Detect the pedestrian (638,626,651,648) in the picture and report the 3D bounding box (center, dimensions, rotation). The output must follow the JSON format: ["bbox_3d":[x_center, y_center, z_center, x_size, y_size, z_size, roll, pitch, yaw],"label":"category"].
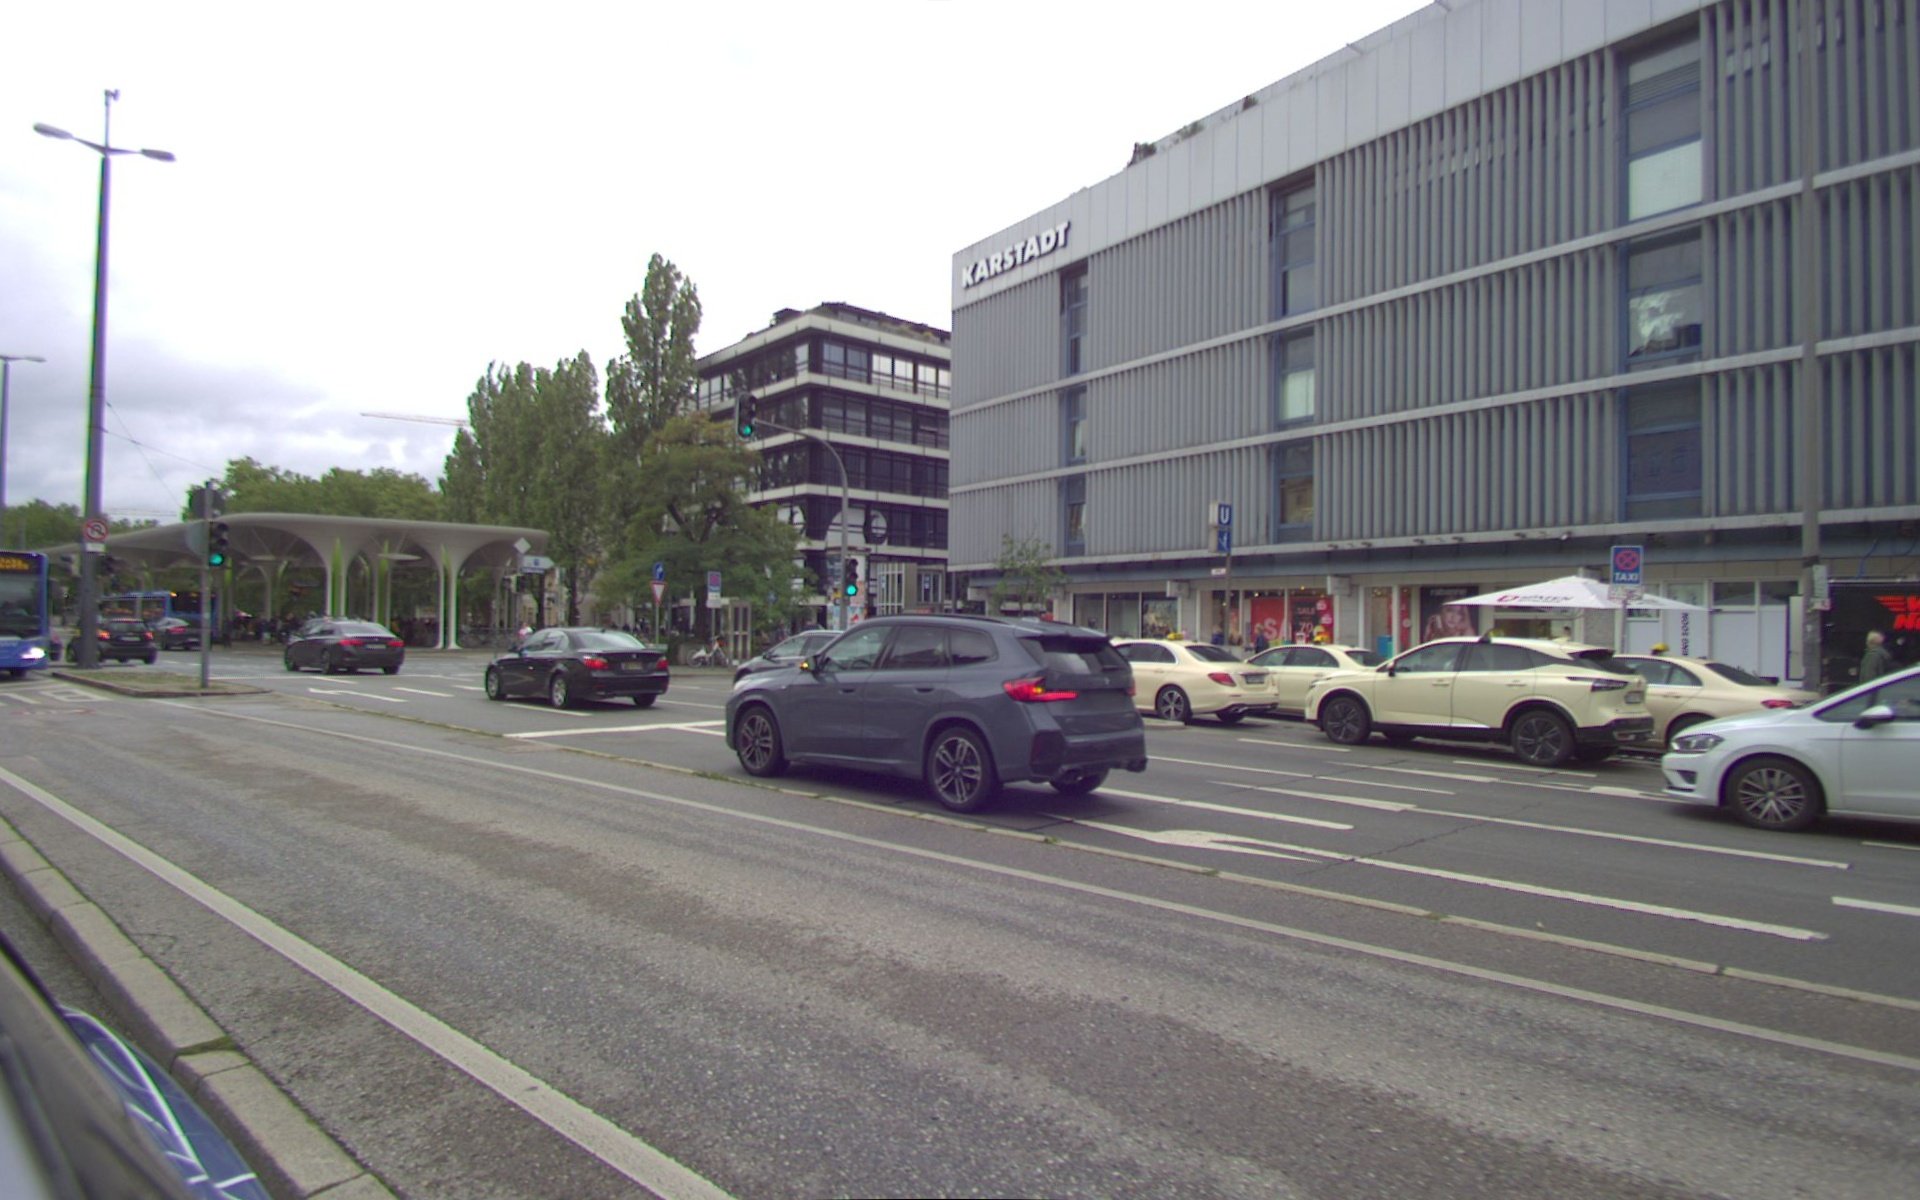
[{"bbox_3d":[-24.410,2.849,78.253,0.821,1.712,0.907,2,-2,-27],"label":"pedestrian"}]

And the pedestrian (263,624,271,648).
[{"bbox_3d":[-39.356,2.042,57.479,0.312,1.353,0.340,2,-3,-33],"label":"pedestrian"}]

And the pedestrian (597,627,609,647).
[{"bbox_3d":[-31.415,3.225,89.101,0.788,1.737,0.828,2,-2,-38],"label":"pedestrian"}]

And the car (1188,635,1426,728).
[{"bbox_3d":[6.544,1.468,19.409,1.730,1.548,4.005,2,-2,-41],"label":"car"}]

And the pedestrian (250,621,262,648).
[{"bbox_3d":[-40.125,1.986,57.666,0.419,1.514,0.491,2,-2,-24],"label":"pedestrian"}]

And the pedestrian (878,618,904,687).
[{"bbox_3d":[-1.776,1.349,26.179,0.428,1.742,0.518,0,0,40],"label":"pedestrian"}]

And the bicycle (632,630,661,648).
[{"bbox_3d":[-19.006,2.362,61.376,1.655,1.106,0.472,0,-2,7],"label":"bicycle"}]

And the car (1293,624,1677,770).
[{"bbox_3d":[7.125,1.219,14.139,1.861,1.711,4.391,4,-3,-38],"label":"car"}]

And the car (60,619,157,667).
[{"bbox_3d":[-28.589,1.425,33.986,2.775,1.518,1.547,0,-2,28],"label":"car"}]

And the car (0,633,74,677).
[{"bbox_3d":[-32.988,1.928,35.905,3.382,1.491,1.608,-1,-3,37],"label":"car"}]

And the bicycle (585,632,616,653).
[{"bbox_3d":[-19.901,2.352,56.033,1.660,1.106,0.470,0,-2,17],"label":"bicycle"}]

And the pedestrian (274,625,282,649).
[{"bbox_3d":[-38.984,2.097,57.857,0.270,1.387,0.299,-1,-3,38],"label":"pedestrian"}]

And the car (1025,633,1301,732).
[{"bbox_3d":[3.559,1.399,18.593,1.921,1.552,4.855,2,-2,-40],"label":"car"}]

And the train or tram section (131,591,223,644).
[{"bbox_3d":[-46.958,1.076,60.618,7.402,3.024,2.804,-1,-2,41],"label":"train or tram section"}]

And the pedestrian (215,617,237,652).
[{"bbox_3d":[-37.912,1.783,52.265,0.787,1.762,0.702,-1,-3,40],"label":"pedestrian"}]

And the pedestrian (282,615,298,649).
[{"bbox_3d":[-36.594,1.753,55.290,0.656,1.865,0.790,2,-2,-30],"label":"pedestrian"}]

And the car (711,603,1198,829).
[{"bbox_3d":[-0.225,0.913,9.557,4.412,1.633,1.972,-1,-3,42],"label":"car"}]

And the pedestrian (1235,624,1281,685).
[{"bbox_3d":[7.794,1.400,26.464,0.722,1.557,0.901,2,-2,-36],"label":"pedestrian"}]

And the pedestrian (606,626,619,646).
[{"bbox_3d":[-30.884,3.226,89.899,0.788,1.737,0.828,2,-2,-38],"label":"pedestrian"}]

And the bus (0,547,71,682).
[{"bbox_3d":[-25.545,0.320,25.447,11.200,2.966,2.905,0,-1,39],"label":"bus"}]

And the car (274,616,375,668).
[{"bbox_3d":[-23.288,1.494,37.049,4.599,1.791,1.972,-1,-3,43],"label":"car"}]

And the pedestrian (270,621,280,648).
[{"bbox_3d":[-39.243,1.969,57.951,0.316,1.514,0.331,-1,-2,31],"label":"pedestrian"}]

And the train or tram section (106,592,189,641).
[{"bbox_3d":[-52.599,1.086,65.435,7.402,3.024,2.804,-1,-2,41],"label":"train or tram section"}]

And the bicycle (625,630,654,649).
[{"bbox_3d":[-19.111,2.360,60.432,1.660,1.106,0.470,0,-2,17],"label":"bicycle"}]

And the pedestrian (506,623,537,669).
[{"bbox_3d":[-15.415,1.599,35.572,0.754,1.563,0.636,0,0,15],"label":"pedestrian"}]

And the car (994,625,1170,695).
[{"bbox_3d":[2.951,1.418,24.937,4.000,1.579,1.886,-1,-3,43],"label":"car"}]

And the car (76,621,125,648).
[{"bbox_3d":[-49.939,2.019,58.800,2.744,1.527,1.653,-1,-3,39],"label":"car"}]

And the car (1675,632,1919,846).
[{"bbox_3d":[8.444,1.093,8.047,4.289,1.612,1.972,-1,-3,43],"label":"car"}]

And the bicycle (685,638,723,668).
[{"bbox_3d":[-8.866,1.829,35.074,0.419,1.024,1.282,-1,-3,39],"label":"bicycle"}]

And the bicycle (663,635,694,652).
[{"bbox_3d":[-19.278,2.996,69.355,2.044,1.142,0.561,2,-3,-44],"label":"bicycle"}]

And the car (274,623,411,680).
[{"bbox_3d":[-18.175,1.456,29.685,5.018,1.519,1.973,-1,-3,41],"label":"car"}]

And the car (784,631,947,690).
[{"bbox_3d":[-2.681,1.670,28.545,4.276,1.522,1.843,0,-2,27],"label":"car"}]

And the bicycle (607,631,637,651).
[{"bbox_3d":[-19.479,2.356,58.361,1.660,1.106,0.470,0,-2,17],"label":"bicycle"}]

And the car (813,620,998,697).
[{"bbox_3d":[-1.347,1.308,23.738,4.474,1.624,1.570,-1,-3,40],"label":"car"}]

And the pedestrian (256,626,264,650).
[{"bbox_3d":[-39.646,2.130,57.292,0.312,1.353,0.340,2,-3,-33],"label":"pedestrian"}]

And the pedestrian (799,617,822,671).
[{"bbox_3d":[-4.985,1.454,33.806,0.510,1.792,0.555,0,0,43],"label":"pedestrian"}]

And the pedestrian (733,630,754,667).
[{"bbox_3d":[-10.504,2.357,49.080,0.647,1.748,0.757,-1,-2,33],"label":"pedestrian"}]

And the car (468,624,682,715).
[{"bbox_3d":[-7.356,1.231,19.082,4.733,1.498,1.816,-1,-3,42],"label":"car"}]

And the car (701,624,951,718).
[{"bbox_3d":[-2.663,1.259,19.263,4.946,1.558,1.938,-1,-3,42],"label":"car"}]

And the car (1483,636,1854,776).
[{"bbox_3d":[9.879,1.370,14.365,1.749,1.628,4.006,3,-2,-40],"label":"car"}]

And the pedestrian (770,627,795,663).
[{"bbox_3d":[-6.591,1.663,37.640,0.773,1.318,0.537,-1,-3,41],"label":"pedestrian"}]

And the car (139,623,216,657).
[{"bbox_3d":[-37.883,1.910,48.971,4.612,1.589,1.973,-1,-2,40],"label":"car"}]

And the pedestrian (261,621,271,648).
[{"bbox_3d":[-39.659,1.959,57.807,0.316,1.514,0.317,-1,-2,31],"label":"pedestrian"}]

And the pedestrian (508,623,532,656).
[{"bbox_3d":[-23.628,2.113,54.352,0.980,1.791,0.850,-1,-3,41],"label":"pedestrian"}]

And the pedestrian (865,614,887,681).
[{"bbox_3d":[-2.144,1.199,25.746,0.425,1.668,0.360,0,0,40],"label":"pedestrian"}]

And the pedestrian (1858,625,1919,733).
[{"bbox_3d":[16.273,1.354,17.603,0.778,1.819,0.819,2,-3,-37],"label":"pedestrian"}]
